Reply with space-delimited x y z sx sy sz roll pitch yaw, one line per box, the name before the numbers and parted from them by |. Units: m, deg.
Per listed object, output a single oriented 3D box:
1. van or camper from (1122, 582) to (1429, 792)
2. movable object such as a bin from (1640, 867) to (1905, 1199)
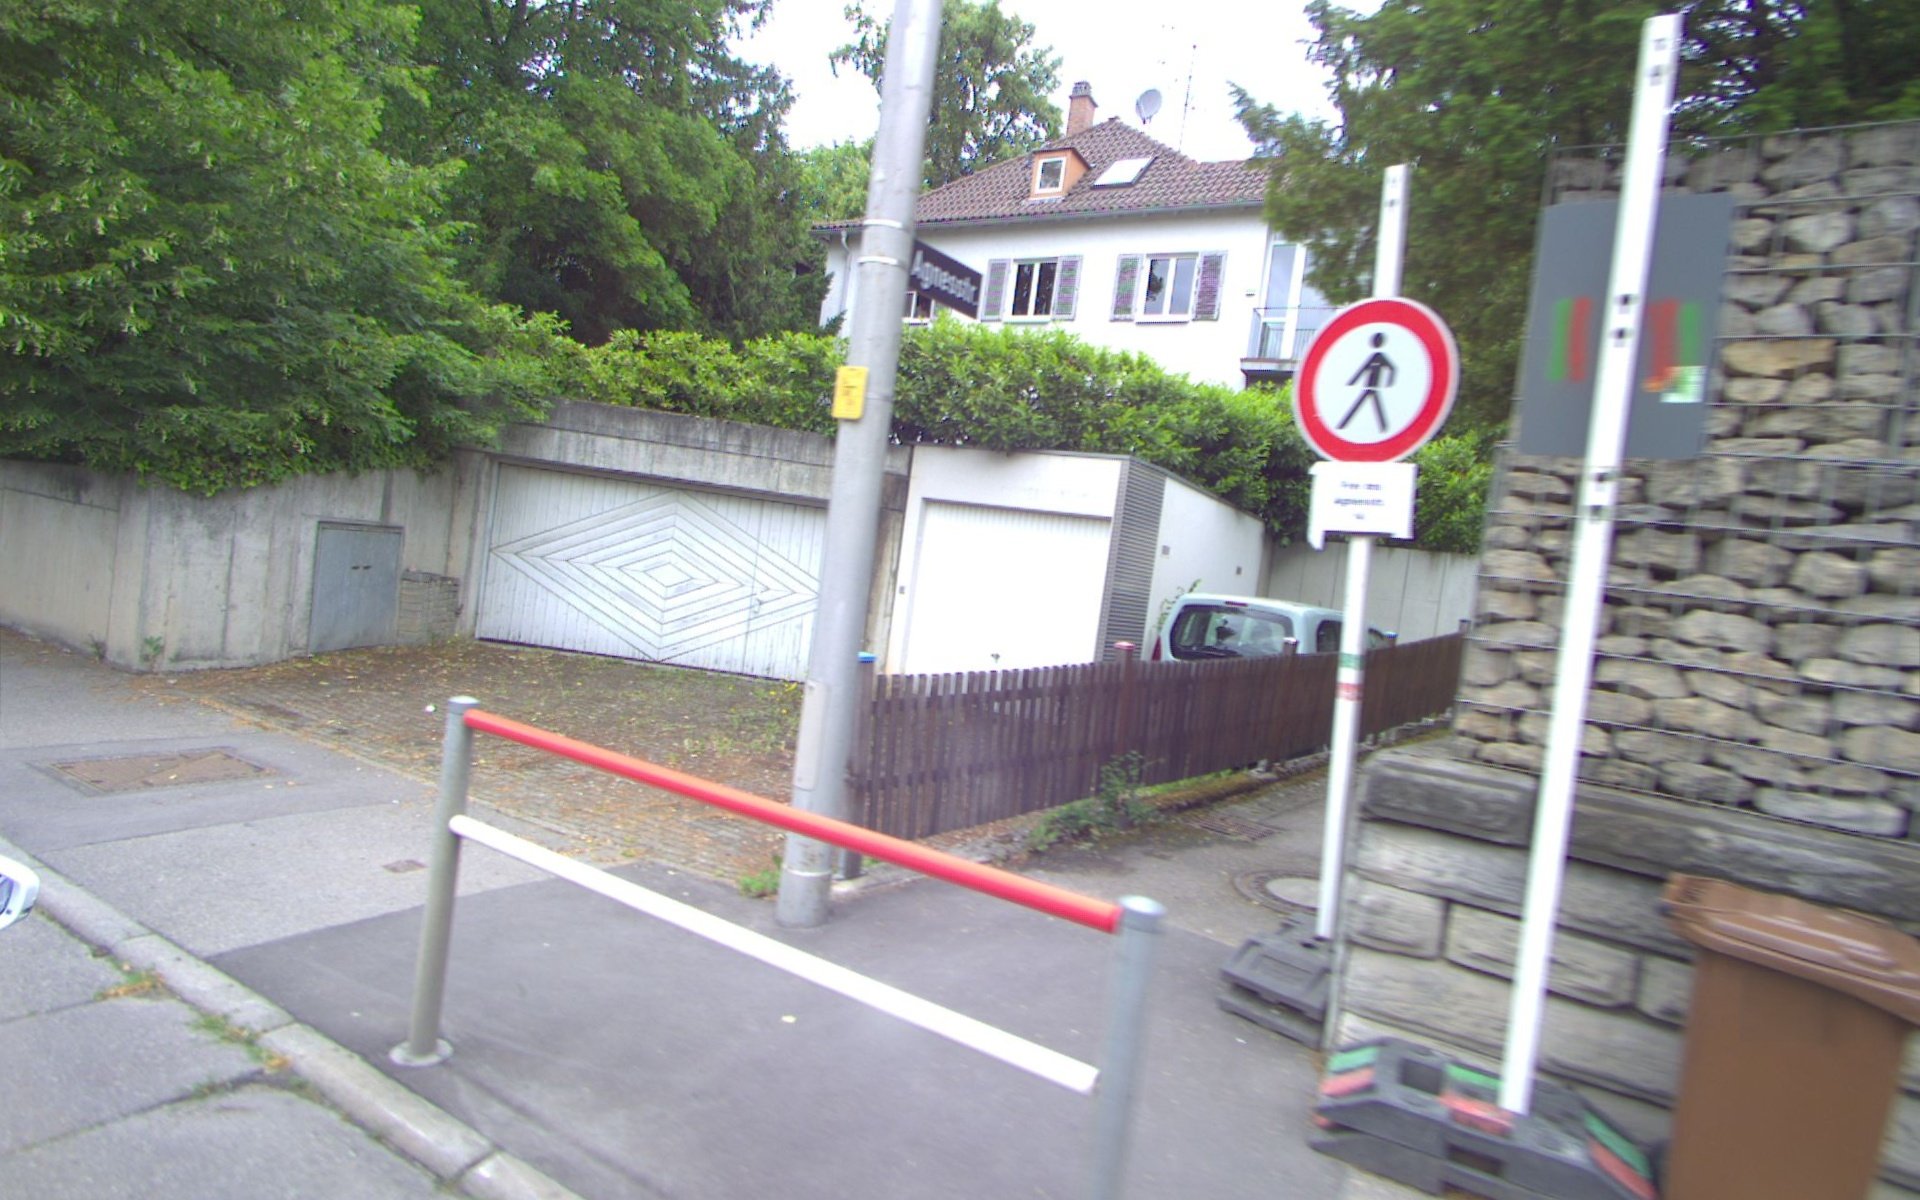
van or camper | 3.642 0.946 11.125 1.765 1.768 3.984 7 -1 39
movable object such as a bin | 1.926 1.185 2.420 0.388 0.922 0.444 7 5 40
